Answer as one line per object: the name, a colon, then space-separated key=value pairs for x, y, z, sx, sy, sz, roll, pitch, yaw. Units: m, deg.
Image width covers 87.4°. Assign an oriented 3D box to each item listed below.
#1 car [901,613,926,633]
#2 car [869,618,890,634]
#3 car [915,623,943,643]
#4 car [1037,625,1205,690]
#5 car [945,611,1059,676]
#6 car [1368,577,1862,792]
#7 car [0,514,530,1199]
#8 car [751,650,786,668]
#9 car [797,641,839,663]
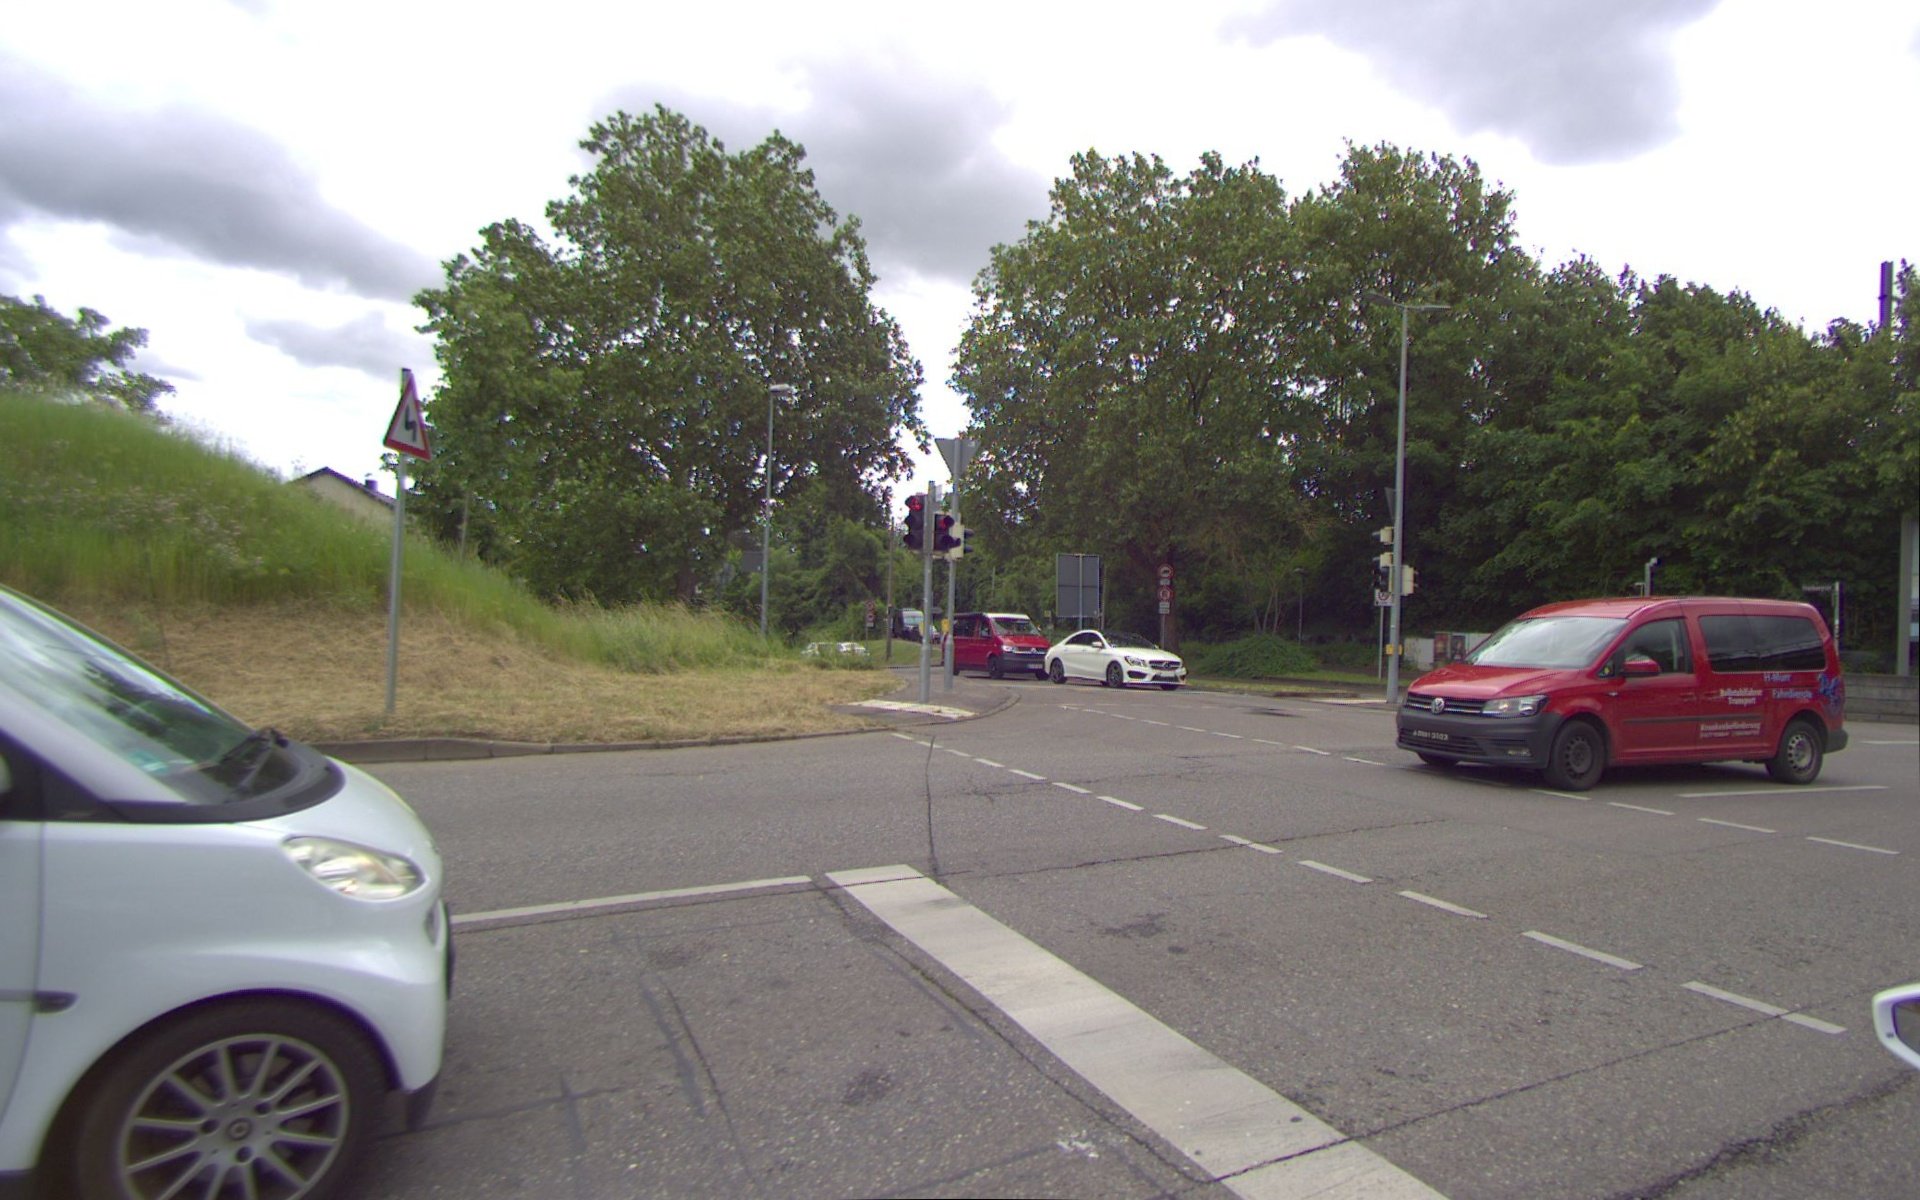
car: x=-3.948 y=1.946 z=84.922 sx=1.685 sy=1.561 sz=3.993 roll=1 pitch=0 yaw=-9
car: x=-8.447 y=2.665 z=104.754 sx=1.686 sy=1.561 sz=3.991 roll=1 pitch=-1 yaw=-12
car: x=-2.472 y=2.573 z=78.826 sx=1.685 sy=1.528 sz=3.994 roll=1 pitch=-1 yaw=-9
car: x=3.923 y=1.397 z=25.251 sx=1.974 sy=1.356 sz=4.391 roll=4 pitch=-2 yaw=-26
car: x=1.226 y=1.313 z=30.935 sx=1.831 sy=1.837 sz=4.013 roll=2 pitch=-2 yaw=-26
car: x=6.647 y=0.789 z=10.211 sx=4.652 sy=1.850 sz=1.687 roll=1 pitch=-1 yaw=-19
car: x=-2.696 y=0.586 z=2.302 sx=2.981 sy=1.578 sz=1.567 roll=1 pitch=2 yaw=-30
car: x=-14.828 y=4.547 z=77.658 sx=1.673 sy=1.327 sz=3.976 roll=2 pitch=-4 yaw=-25
car: x=-9.343 y=3.430 z=65.903 sx=1.673 sy=1.327 sz=3.976 roll=2 pitch=-4 yaw=-25
